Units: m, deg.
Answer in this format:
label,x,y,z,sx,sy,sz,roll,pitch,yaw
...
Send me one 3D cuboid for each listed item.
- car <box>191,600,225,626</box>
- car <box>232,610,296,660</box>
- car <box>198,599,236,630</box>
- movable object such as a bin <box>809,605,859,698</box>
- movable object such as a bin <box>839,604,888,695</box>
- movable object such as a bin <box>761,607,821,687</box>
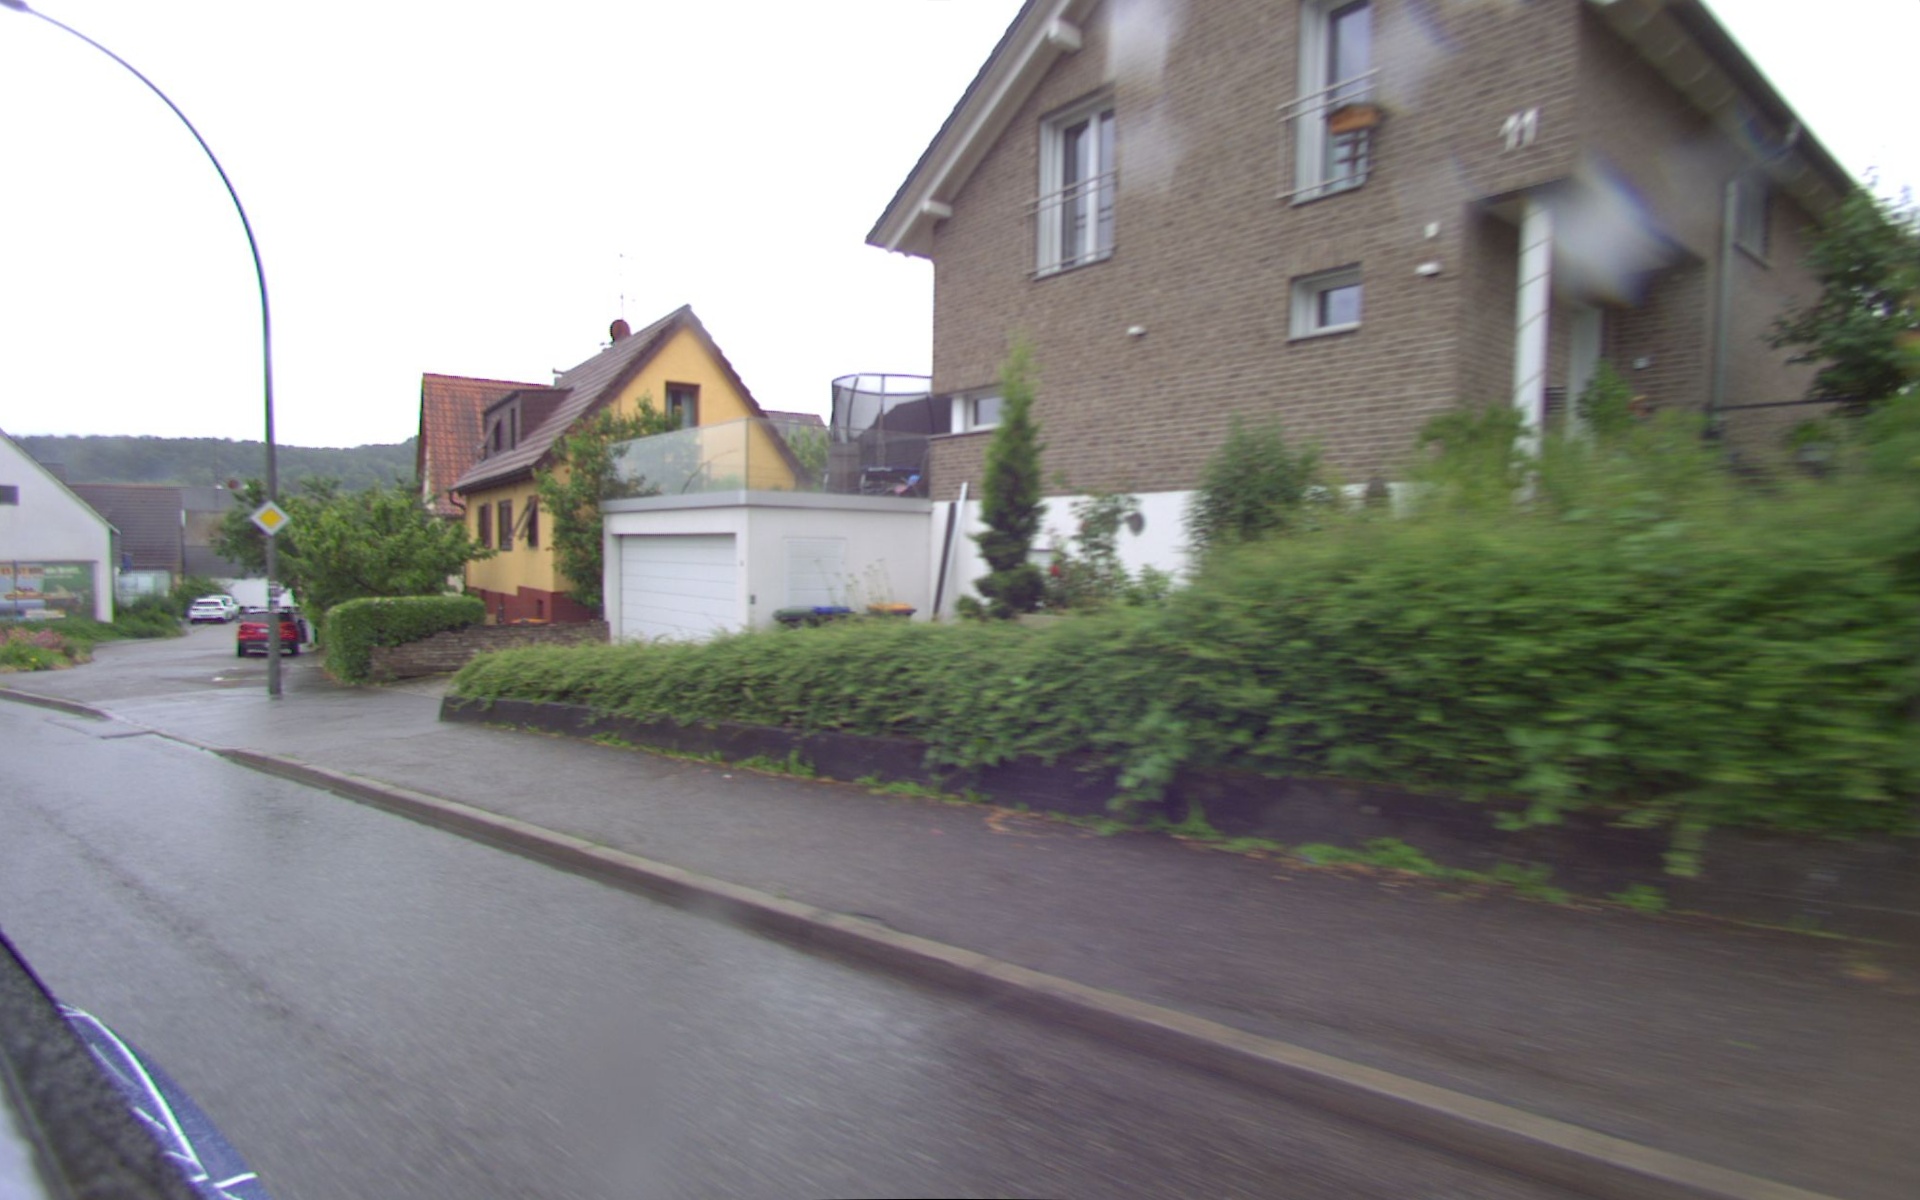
label,x,y,z,sx,sy,sz,roll,pitch,yaw
car,-44.597,0.757,60.035,1.394,1.439,3.502,-1,2,-34
car,-24.085,1.161,35.039,1.725,1.574,4.029,-1,0,-34
car,-47.561,0.889,64.807,1.729,1.903,3.750,-1,0,-33
movable object such as a bin,-1.825,0.734,14.675,0.490,1.312,0.557,-1,0,-38
movable object such as a bin,-1.433,0.722,14.987,0.490,1.312,0.557,-1,0,-38
movable object such as a bin,-2.385,0.642,14.262,0.553,1.082,0.713,-1,0,-38
